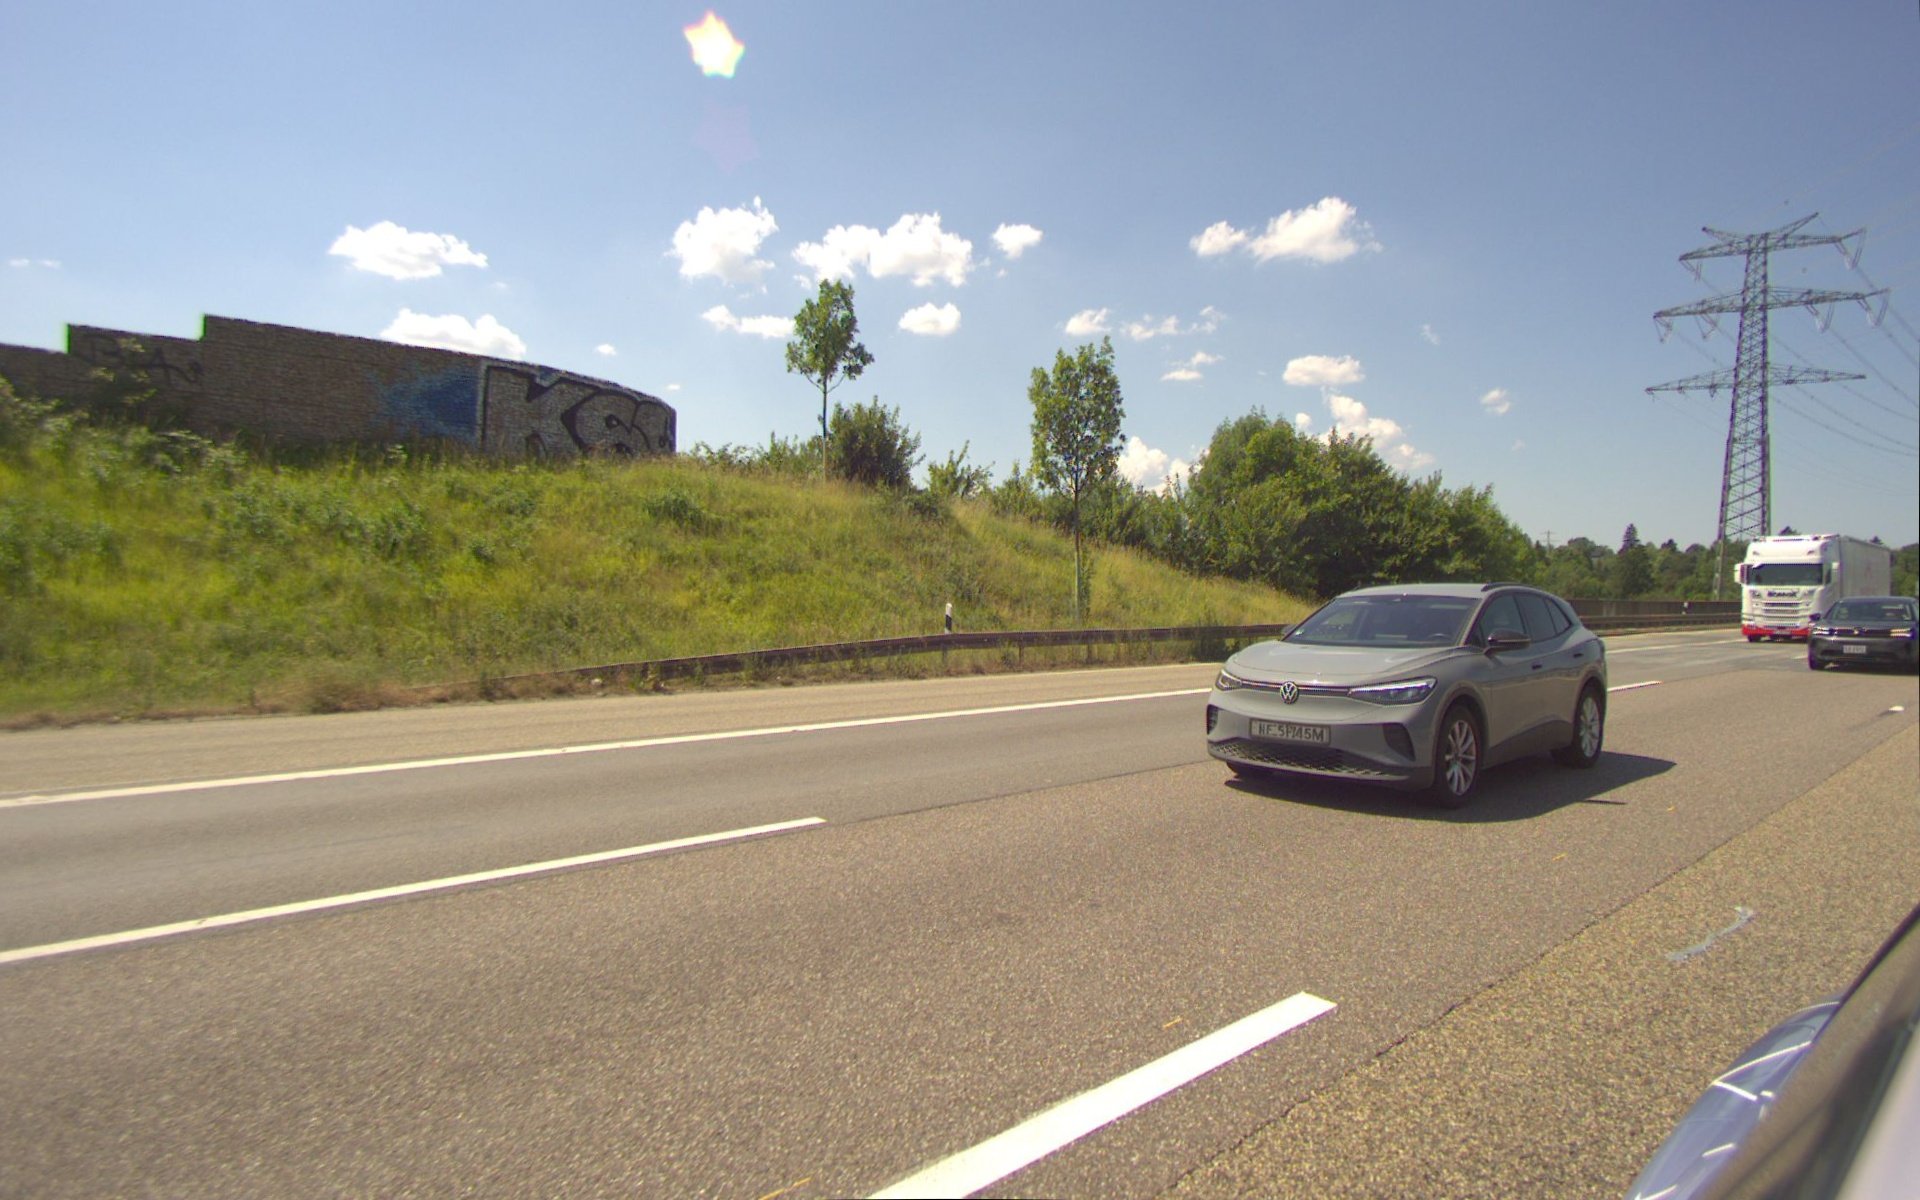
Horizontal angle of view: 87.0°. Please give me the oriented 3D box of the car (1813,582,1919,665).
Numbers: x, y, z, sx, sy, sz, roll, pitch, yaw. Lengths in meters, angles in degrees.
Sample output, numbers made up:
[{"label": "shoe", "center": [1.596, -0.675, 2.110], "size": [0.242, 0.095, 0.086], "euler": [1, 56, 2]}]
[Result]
[{"label": "car", "center": [20.403, 0.464, 22.216], "size": [3.976, 1.667, 1.954], "euler": [0, 0, -40]}]

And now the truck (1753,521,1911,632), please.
[{"label": "truck", "center": [35.723, -0.839, 41.206], "size": [12.284, 3.957, 3.074], "euler": [0, 0, -41]}]

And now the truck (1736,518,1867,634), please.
[{"label": "truck", "center": [30.525, -0.826, 36.716], "size": [3.779, 3.957, 3.074], "euler": [0, 0, -40]}]

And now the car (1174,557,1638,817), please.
[{"label": "car", "center": [3.982, 0.543, 8.647], "size": [4.505, 1.657, 1.871], "euler": [0, 0, -41]}]
